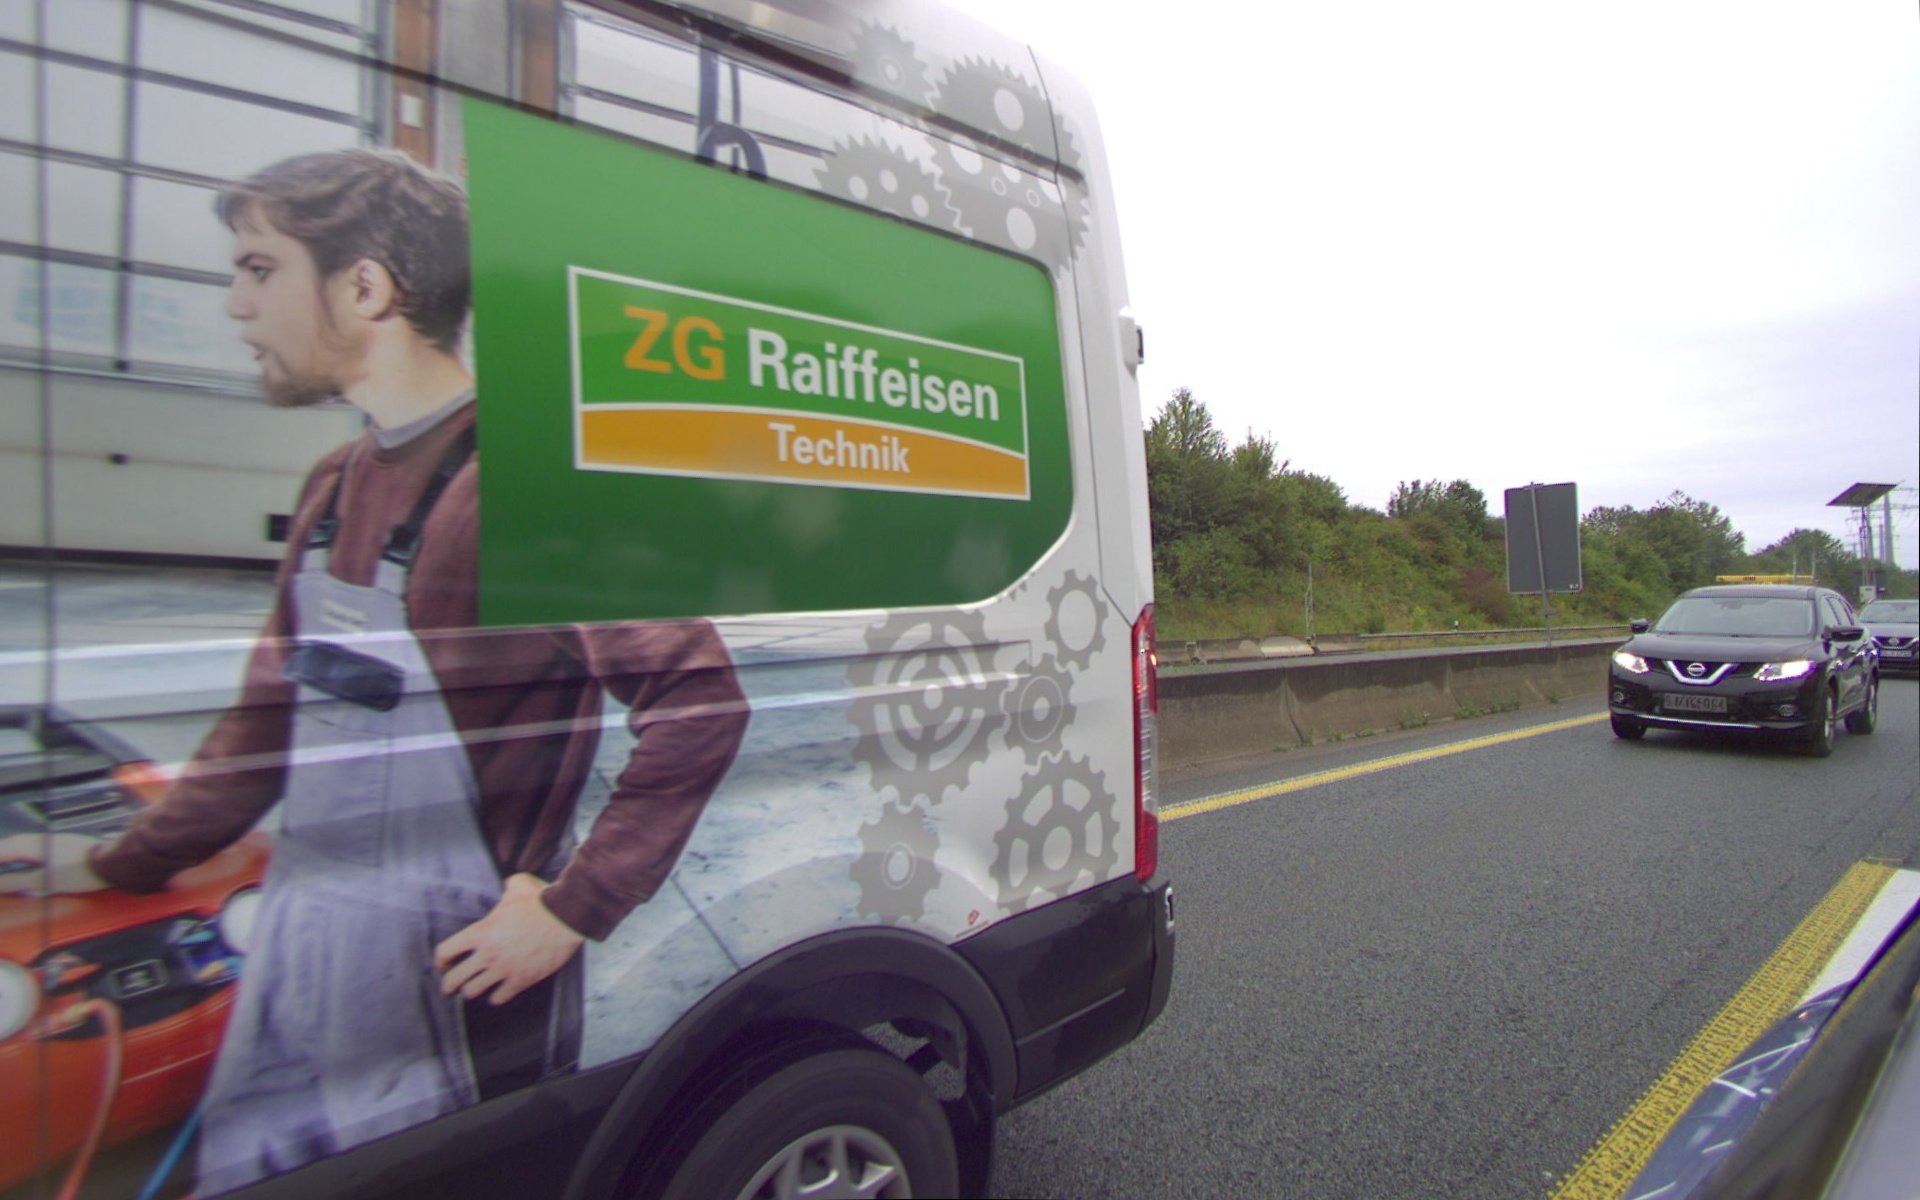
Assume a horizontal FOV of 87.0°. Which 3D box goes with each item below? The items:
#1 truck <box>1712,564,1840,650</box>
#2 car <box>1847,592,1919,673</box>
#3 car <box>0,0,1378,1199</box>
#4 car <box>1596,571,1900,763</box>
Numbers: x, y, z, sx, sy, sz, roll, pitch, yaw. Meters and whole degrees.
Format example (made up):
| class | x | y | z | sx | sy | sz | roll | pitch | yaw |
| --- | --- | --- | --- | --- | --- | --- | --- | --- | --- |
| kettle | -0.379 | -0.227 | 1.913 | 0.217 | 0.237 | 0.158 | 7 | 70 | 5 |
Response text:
| class | x | y | z | sx | sy | sz | roll | pitch | yaw |
| --- | --- | --- | --- | --- | --- | --- | --- | --- | --- |
| truck | 36.240 | 0.234 | 44.803 | 9.405 | 3.467 | 2.618 | -1 | 1 | -40 |
| car | 19.507 | 0.606 | 20.554 | 4.053 | 1.509 | 1.782 | -1 | 1 | -42 |
| car | -2.009 | 0.021 | 1.268 | 6.008 | 2.709 | 2.149 | -1 | 1 | -40 |
| car | 8.837 | 0.563 | 11.194 | 4.561 | 1.696 | 1.892 | -1 | 1 | -42 |
